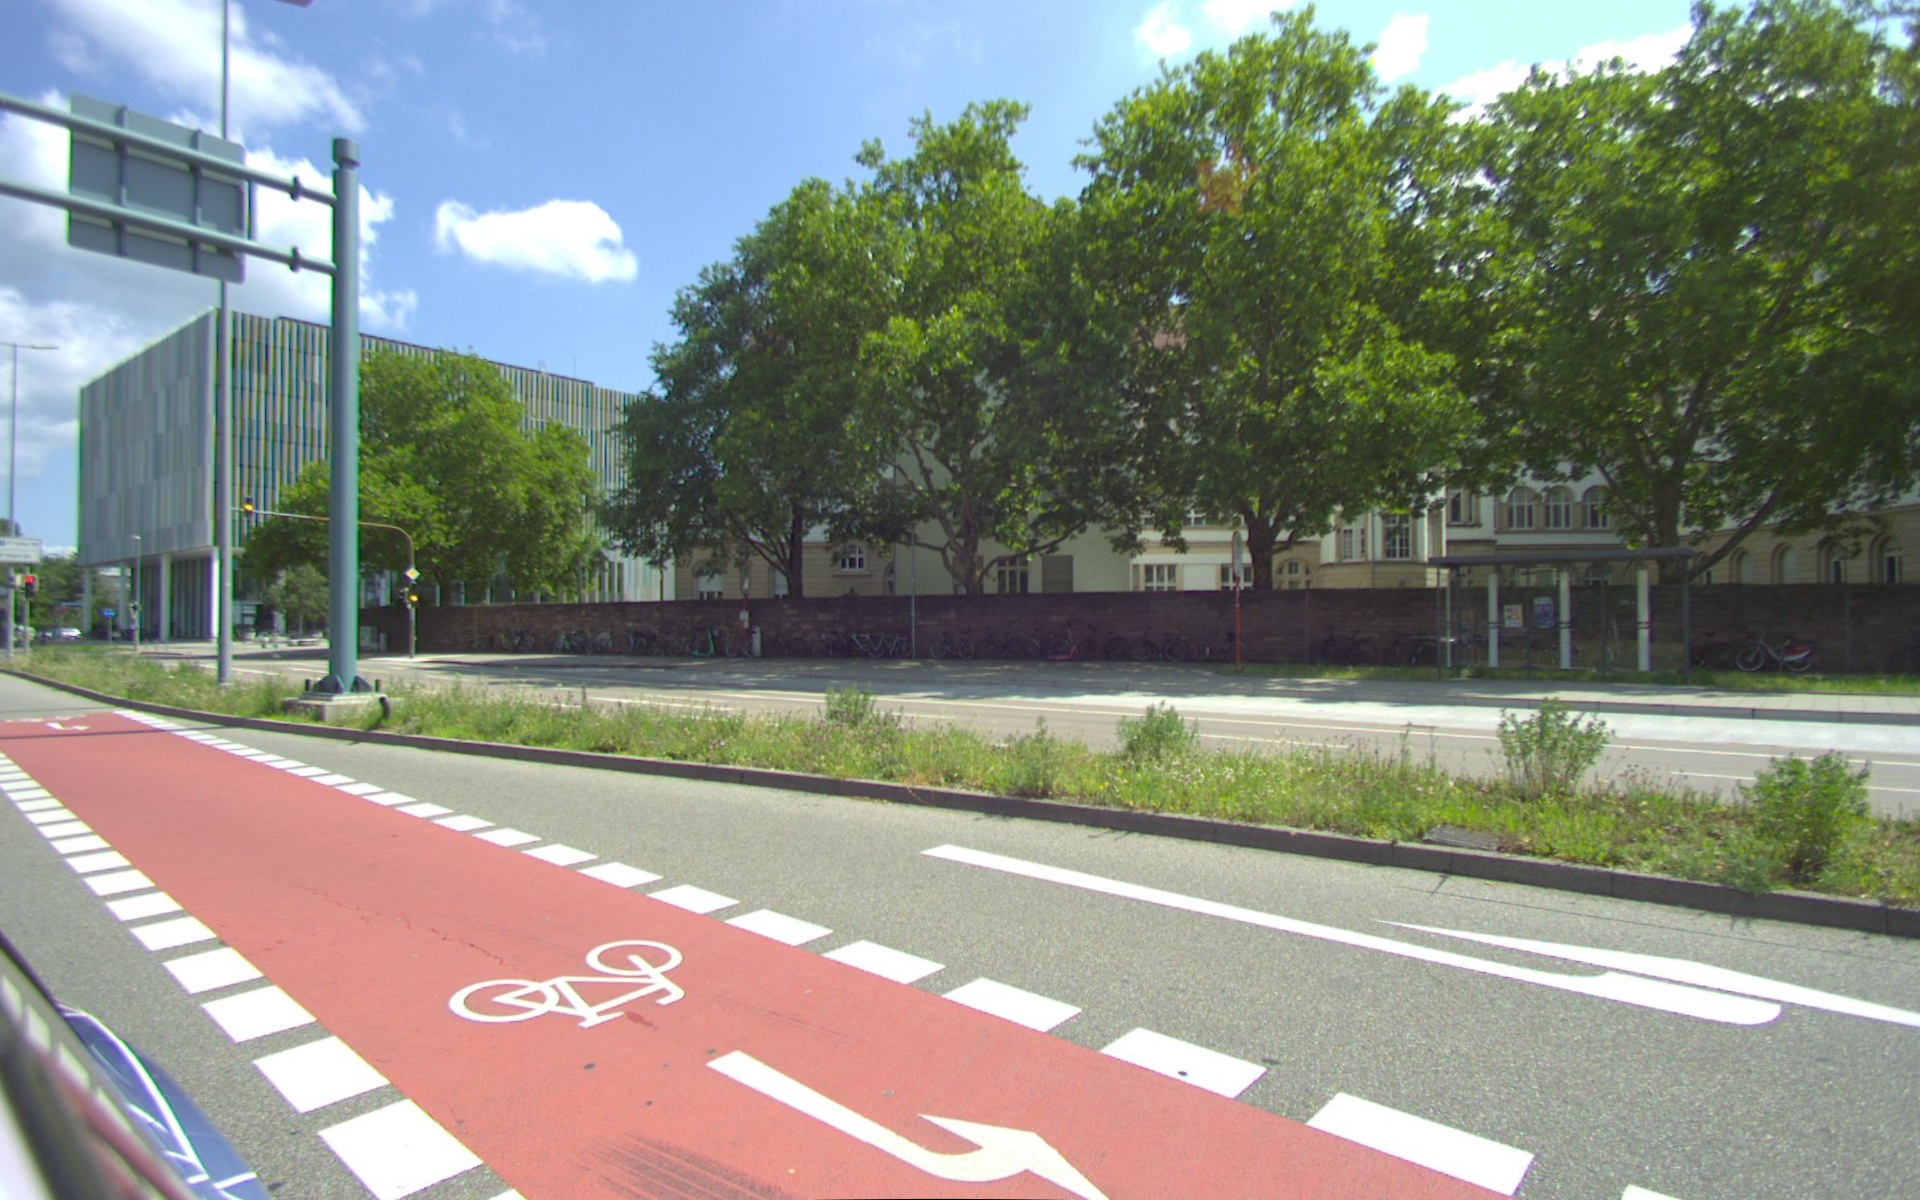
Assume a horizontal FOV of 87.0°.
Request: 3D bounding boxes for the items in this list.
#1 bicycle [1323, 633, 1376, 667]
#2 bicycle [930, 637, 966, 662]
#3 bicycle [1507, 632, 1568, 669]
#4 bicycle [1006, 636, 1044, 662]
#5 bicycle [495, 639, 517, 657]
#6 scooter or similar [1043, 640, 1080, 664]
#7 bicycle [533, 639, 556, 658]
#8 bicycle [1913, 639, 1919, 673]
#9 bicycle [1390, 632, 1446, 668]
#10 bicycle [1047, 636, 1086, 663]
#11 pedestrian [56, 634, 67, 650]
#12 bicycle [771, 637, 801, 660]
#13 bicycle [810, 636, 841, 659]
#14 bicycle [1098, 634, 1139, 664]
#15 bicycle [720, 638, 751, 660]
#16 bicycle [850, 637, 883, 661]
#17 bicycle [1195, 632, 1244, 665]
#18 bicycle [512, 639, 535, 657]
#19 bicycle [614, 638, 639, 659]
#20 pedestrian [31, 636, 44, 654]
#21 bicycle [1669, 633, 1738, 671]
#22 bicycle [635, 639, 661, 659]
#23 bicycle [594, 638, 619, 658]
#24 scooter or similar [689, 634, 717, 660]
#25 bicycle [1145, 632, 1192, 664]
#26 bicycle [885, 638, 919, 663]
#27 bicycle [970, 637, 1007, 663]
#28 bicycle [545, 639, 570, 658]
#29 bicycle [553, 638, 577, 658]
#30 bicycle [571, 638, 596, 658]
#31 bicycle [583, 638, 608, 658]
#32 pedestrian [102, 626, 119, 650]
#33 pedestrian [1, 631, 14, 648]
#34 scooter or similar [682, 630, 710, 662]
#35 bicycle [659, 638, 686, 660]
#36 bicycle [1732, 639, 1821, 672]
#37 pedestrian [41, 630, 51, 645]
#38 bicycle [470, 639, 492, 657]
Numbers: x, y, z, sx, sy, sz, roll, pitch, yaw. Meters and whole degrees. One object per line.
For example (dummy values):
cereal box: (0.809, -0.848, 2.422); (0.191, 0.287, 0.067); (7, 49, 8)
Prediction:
bicycle: (11.177, 1.424, 29.033); (1.384, 0.972, 0.263); (-1, -2, 18)
bicycle: (-0.401, 1.670, 34.260); (1.230, 0.837, 0.262); (-1, -2, 28)
bicycle: (15.629, 1.366, 27.389); (1.384, 0.972, 0.263); (-1, -2, 18)
bicycle: (2.130, 1.608, 33.068); (1.230, 0.837, 0.262); (-1, -2, 28)
bicycle: (-21.065, 2.226, 46.969); (1.231, 0.837, 0.262); (-2, -2, 30)
scooter or similar: (3.183, 1.627, 31.831); (1.133, 0.734, 0.264); (-1, -2, 18)
bicycle: (-18.598, 2.160, 45.307); (1.230, 0.837, 0.262); (-1, -2, 29)
bicycle: (24.396, 1.355, 24.617); (1.734, 0.823, 0.382); (-1, -2, 18)
bicycle: (12.862, 1.402, 28.419); (1.384, 0.972, 0.263); (-1, -2, 18)
bicycle: (3.407, 1.591, 32.457); (1.230, 0.837, 0.262); (-1, -2, 28)
pedestrian: (-85.844, 4.008, 96.709); (0.689, 1.464, 0.687); (-2, -2, 43)
bicycle: (-6.472, 1.807, 37.565); (1.231, 0.837, 0.262); (-1, -2, 30)
bicycle: (-4.892, 1.722, 36.856); (1.231, 0.837, 0.262); (-1, -2, 30)
bicycle: (4.956, 1.520, 31.622); (1.230, 0.915, 0.262); (-1, -2, 28)
bicycle: (-8.649, 1.883, 38.948); (1.226, 0.837, 0.263); (-1, -2, 19)
bicycle: (-3.332, 1.751, 35.896); (1.231, 0.837, 0.262); (-1, -2, 30)
bicycle: (7.804, 1.467, 30.416); (1.389, 0.972, 0.262); (-1, -2, 28)
bicycle: (-19.957, 2.185, 46.227); (1.230, 0.837, 0.262); (-1, -2, 29)
bicycle: (-13.902, 2.024, 42.192); (1.231, 0.837, 0.262); (-2, -2, 30)
pedestrian: (-77.620, 3.773, 85.142); (0.687, 1.464, 0.689); (-2, -2, 34)
bicycle: (19.231, 1.343, 26.196); (1.384, 0.972, 0.263); (-1, -2, 18)
bicycle: (-12.808, 2.005, 41.487); (1.231, 0.837, 0.262); (-2, -2, 30)
bicycle: (-14.987, 2.014, 42.878); (1.231, 0.837, 0.262); (-2, -2, 30)
scooter or similar: (-10.147, 1.848, 39.917); (1.133, 1.028, 0.264); (-1, -2, 19)
bicycle: (6.398, 1.474, 31.036); (1.385, 0.972, 0.263); (-1, -2, 20)
bicycle: (-2.017, 1.748, 35.115); (1.231, 0.837, 0.262); (-1, -2, 30)
bicycle: (0.958, 1.658, 33.718); (1.230, 0.837, 0.262); (-1, -2, 28)
bicycle: (-17.484, 2.104, 43.963); (1.230, 0.837, 0.262); (-1, -2, 29)
bicycle: (-17.409, 2.108, 44.557); (1.230, 0.837, 0.262); (-1, -2, 29)
bicycle: (-16.270, 2.080, 43.723); (1.231, 0.837, 0.262); (-2, -2, 30)
bicycle: (-15.333, 2.001, 42.554); (1.230, 0.837, 0.262); (-1, -2, 29)
pedestrian: (-70.044, 3.134, 83.433); (0.994, 2.029, 0.853); (-2, -2, 39)
pedestrian: (-96.905, 4.020, 102.938); (0.994, 1.669, 0.853); (-2, -2, 39)
scooter or similar: (-10.159, 1.758, 38.925); (1.230, 1.199, 0.262); (-1, -2, 29)
bicycle: (-11.515, 1.962, 40.530); (1.231, 0.837, 0.262); (-2, -2, 30)
bicycle: (20.743, 1.403, 25.722); (1.734, 0.823, 0.327); (-1, -2, 18)
pedestrian: (-88.801, 3.634, 98.363); (0.686, 1.464, 0.689); (1, -3, -45)
bicycle: (-22.695, 2.268, 47.955); (1.231, 0.837, 0.262); (-2, -2, 30)
